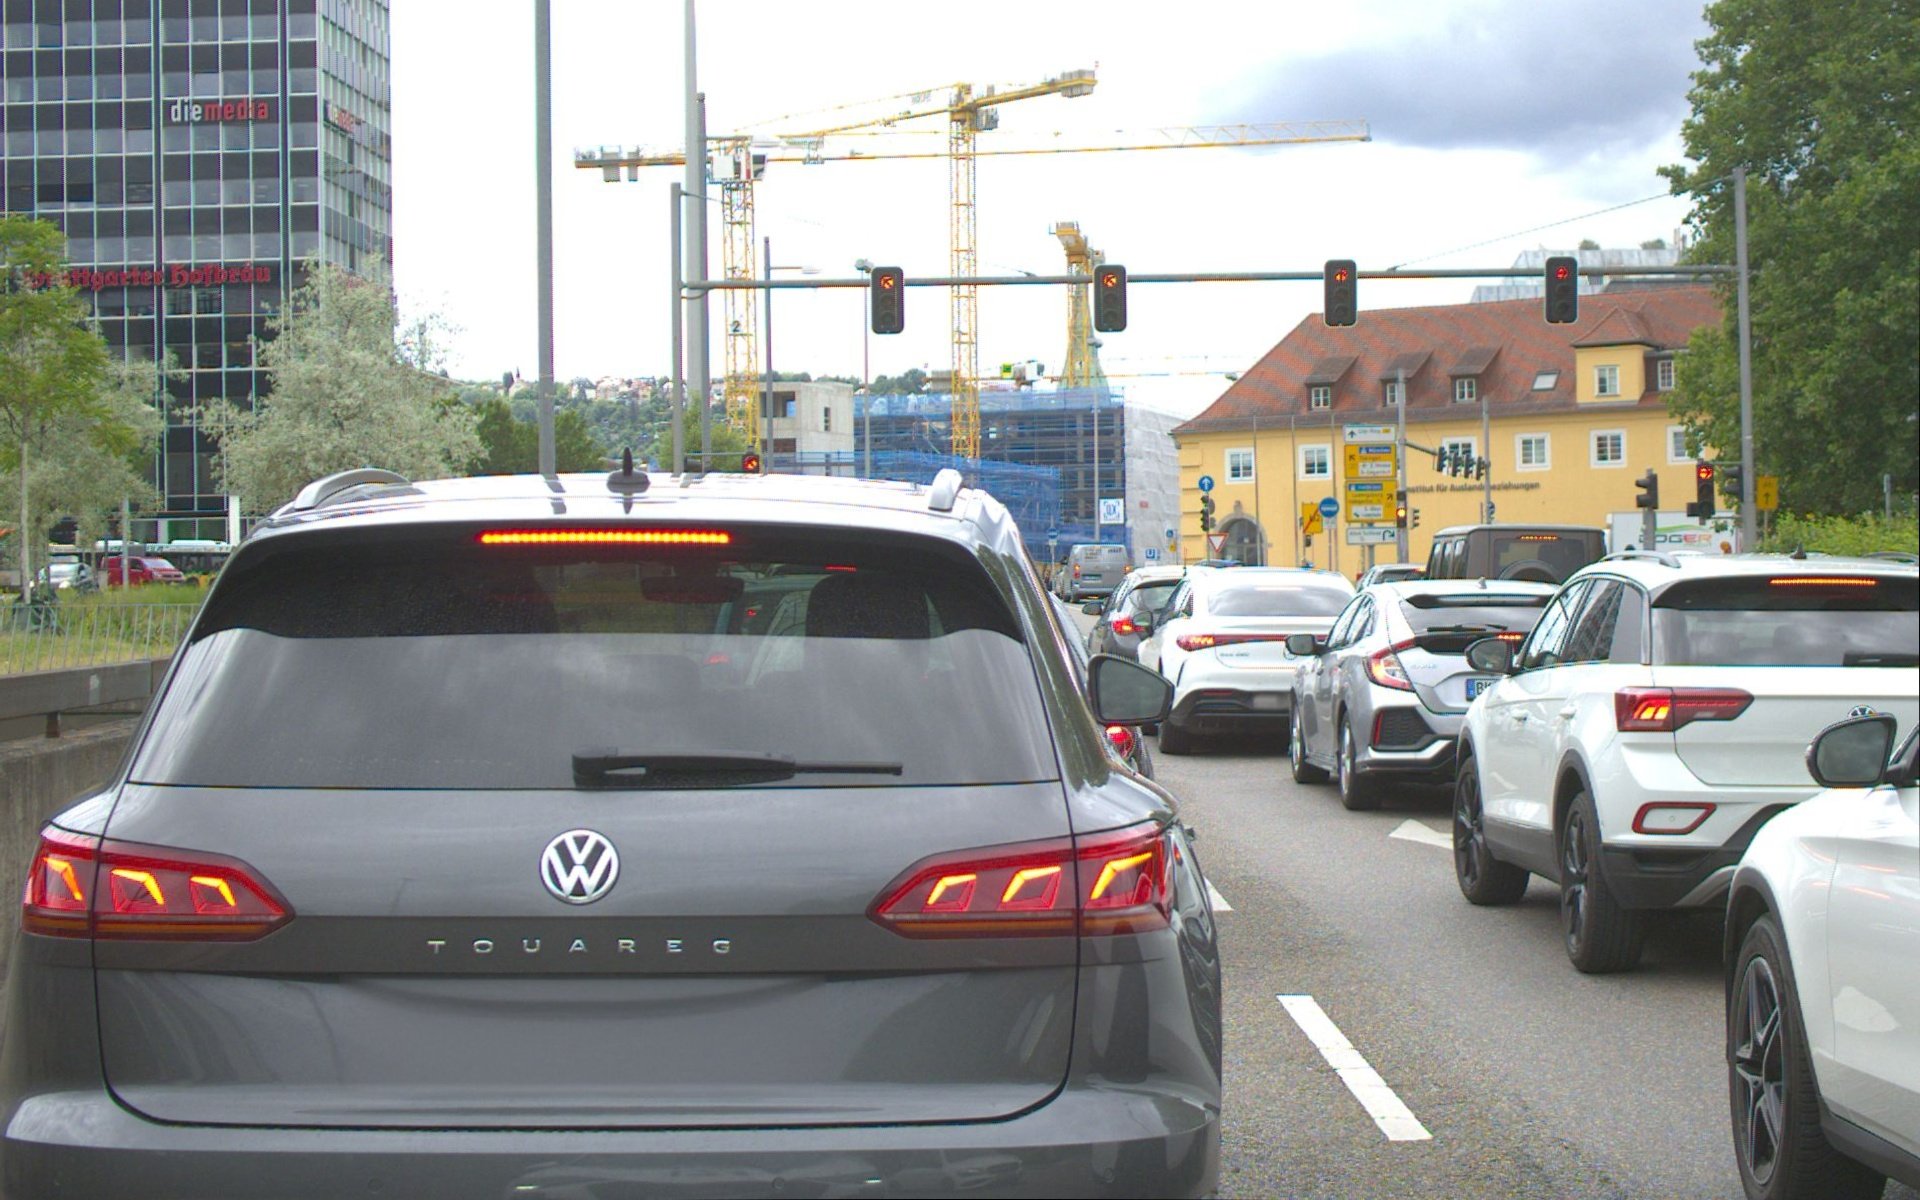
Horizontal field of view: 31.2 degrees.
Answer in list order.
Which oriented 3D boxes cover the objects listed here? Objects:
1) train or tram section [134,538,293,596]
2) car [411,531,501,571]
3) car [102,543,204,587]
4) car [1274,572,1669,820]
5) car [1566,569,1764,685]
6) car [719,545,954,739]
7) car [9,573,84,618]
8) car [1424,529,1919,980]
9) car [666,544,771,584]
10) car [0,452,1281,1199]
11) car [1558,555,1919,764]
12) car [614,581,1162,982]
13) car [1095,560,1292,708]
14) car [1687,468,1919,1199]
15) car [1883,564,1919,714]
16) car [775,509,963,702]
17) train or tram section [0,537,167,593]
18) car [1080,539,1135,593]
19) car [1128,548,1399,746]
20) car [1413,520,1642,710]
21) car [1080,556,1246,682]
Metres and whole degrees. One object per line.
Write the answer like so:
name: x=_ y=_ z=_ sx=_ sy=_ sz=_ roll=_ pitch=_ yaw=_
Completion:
train or tram section: x=-41.164 y=-1.821 z=189.394 sx=8.935 sy=2.999 sz=2.592 roll=1 pitch=-1 yaw=28
car: x=-26.547 y=-2.603 z=180.995 sx=4.454 sy=2.007 sz=1.996 roll=1 pitch=-1 yaw=34
car: x=-38.555 y=-1.703 z=164.195 sx=4.684 sy=2.006 sz=1.997 roll=1 pitch=2 yaw=31
car: x=3.174 y=0.554 z=22.203 sx=1.926 sy=1.427 sz=4.489 roll=0 pitch=0 yaw=1
car: x=9.339 y=0.345 z=45.786 sx=1.757 sy=1.442 sz=3.634 roll=1 pitch=0 yaw=-2
car: x=-1.070 y=0.331 z=31.030 sx=1.951 sy=1.594 sz=3.931 roll=1 pitch=1 yaw=-1
car: x=-31.590 y=-0.151 z=119.004 sx=1.732 sy=1.489 sz=3.595 roll=1 pitch=-1 yaw=-2
car: x=3.144 y=0.531 z=14.085 sx=1.926 sy=1.545 sz=4.489 roll=0 pitch=0 yaw=1
car: x=-10.139 y=-1.522 z=144.310 sx=4.222 sy=1.598 sz=1.749 roll=1 pitch=0 yaw=36
car: x=-0.570 y=0.602 z=6.665 sx=1.951 sy=1.646 sz=4.000 roll=0 pitch=1 yaw=-1
car: x=6.514 y=0.435 z=29.150 sx=1.993 sy=1.634 sz=4.305 roll=0 pitch=1 yaw=-2
car: x=-0.288 y=0.647 z=14.403 sx=1.951 sy=1.379 sz=3.931 roll=1 pitch=1 yaw=-1
car: x=2.509 y=0.351 z=37.748 sx=1.926 sy=1.524 sz=4.047 roll=0 pitch=0 yaw=1
car: x=2.716 y=0.581 z=6.151 sx=1.926 sy=1.648 sz=4.490 roll=0 pitch=1 yaw=1
car: x=10.257 y=0.388 z=32.990 sx=1.932 sy=1.455 sz=4.526 roll=1 pitch=0 yaw=5
car: x=-1.000 y=0.037 z=38.563 sx=1.951 sy=2.011 sz=3.931 roll=1 pitch=1 yaw=-1
train or tram section: x=-49.703 y=-1.984 z=193.944 sx=10.411 sy=2.999 sz=2.592 roll=1 pitch=-1 yaw=28
car: x=4.765 y=-1.088 z=111.448 sx=1.619 sy=1.622 sz=4.000 roll=1 pitch=-1 yaw=0
car: x=2.465 y=0.363 z=28.927 sx=1.926 sy=1.524 sz=4.489 roll=0 pitch=0 yaw=1
car: x=6.390 y=0.157 z=39.116 sx=1.910 sy=2.007 sz=4.012 roll=1 pitch=0 yaw=0
car: x=2.552 y=0.231 z=44.036 sx=1.926 sy=1.524 sz=4.047 roll=0 pitch=0 yaw=1
